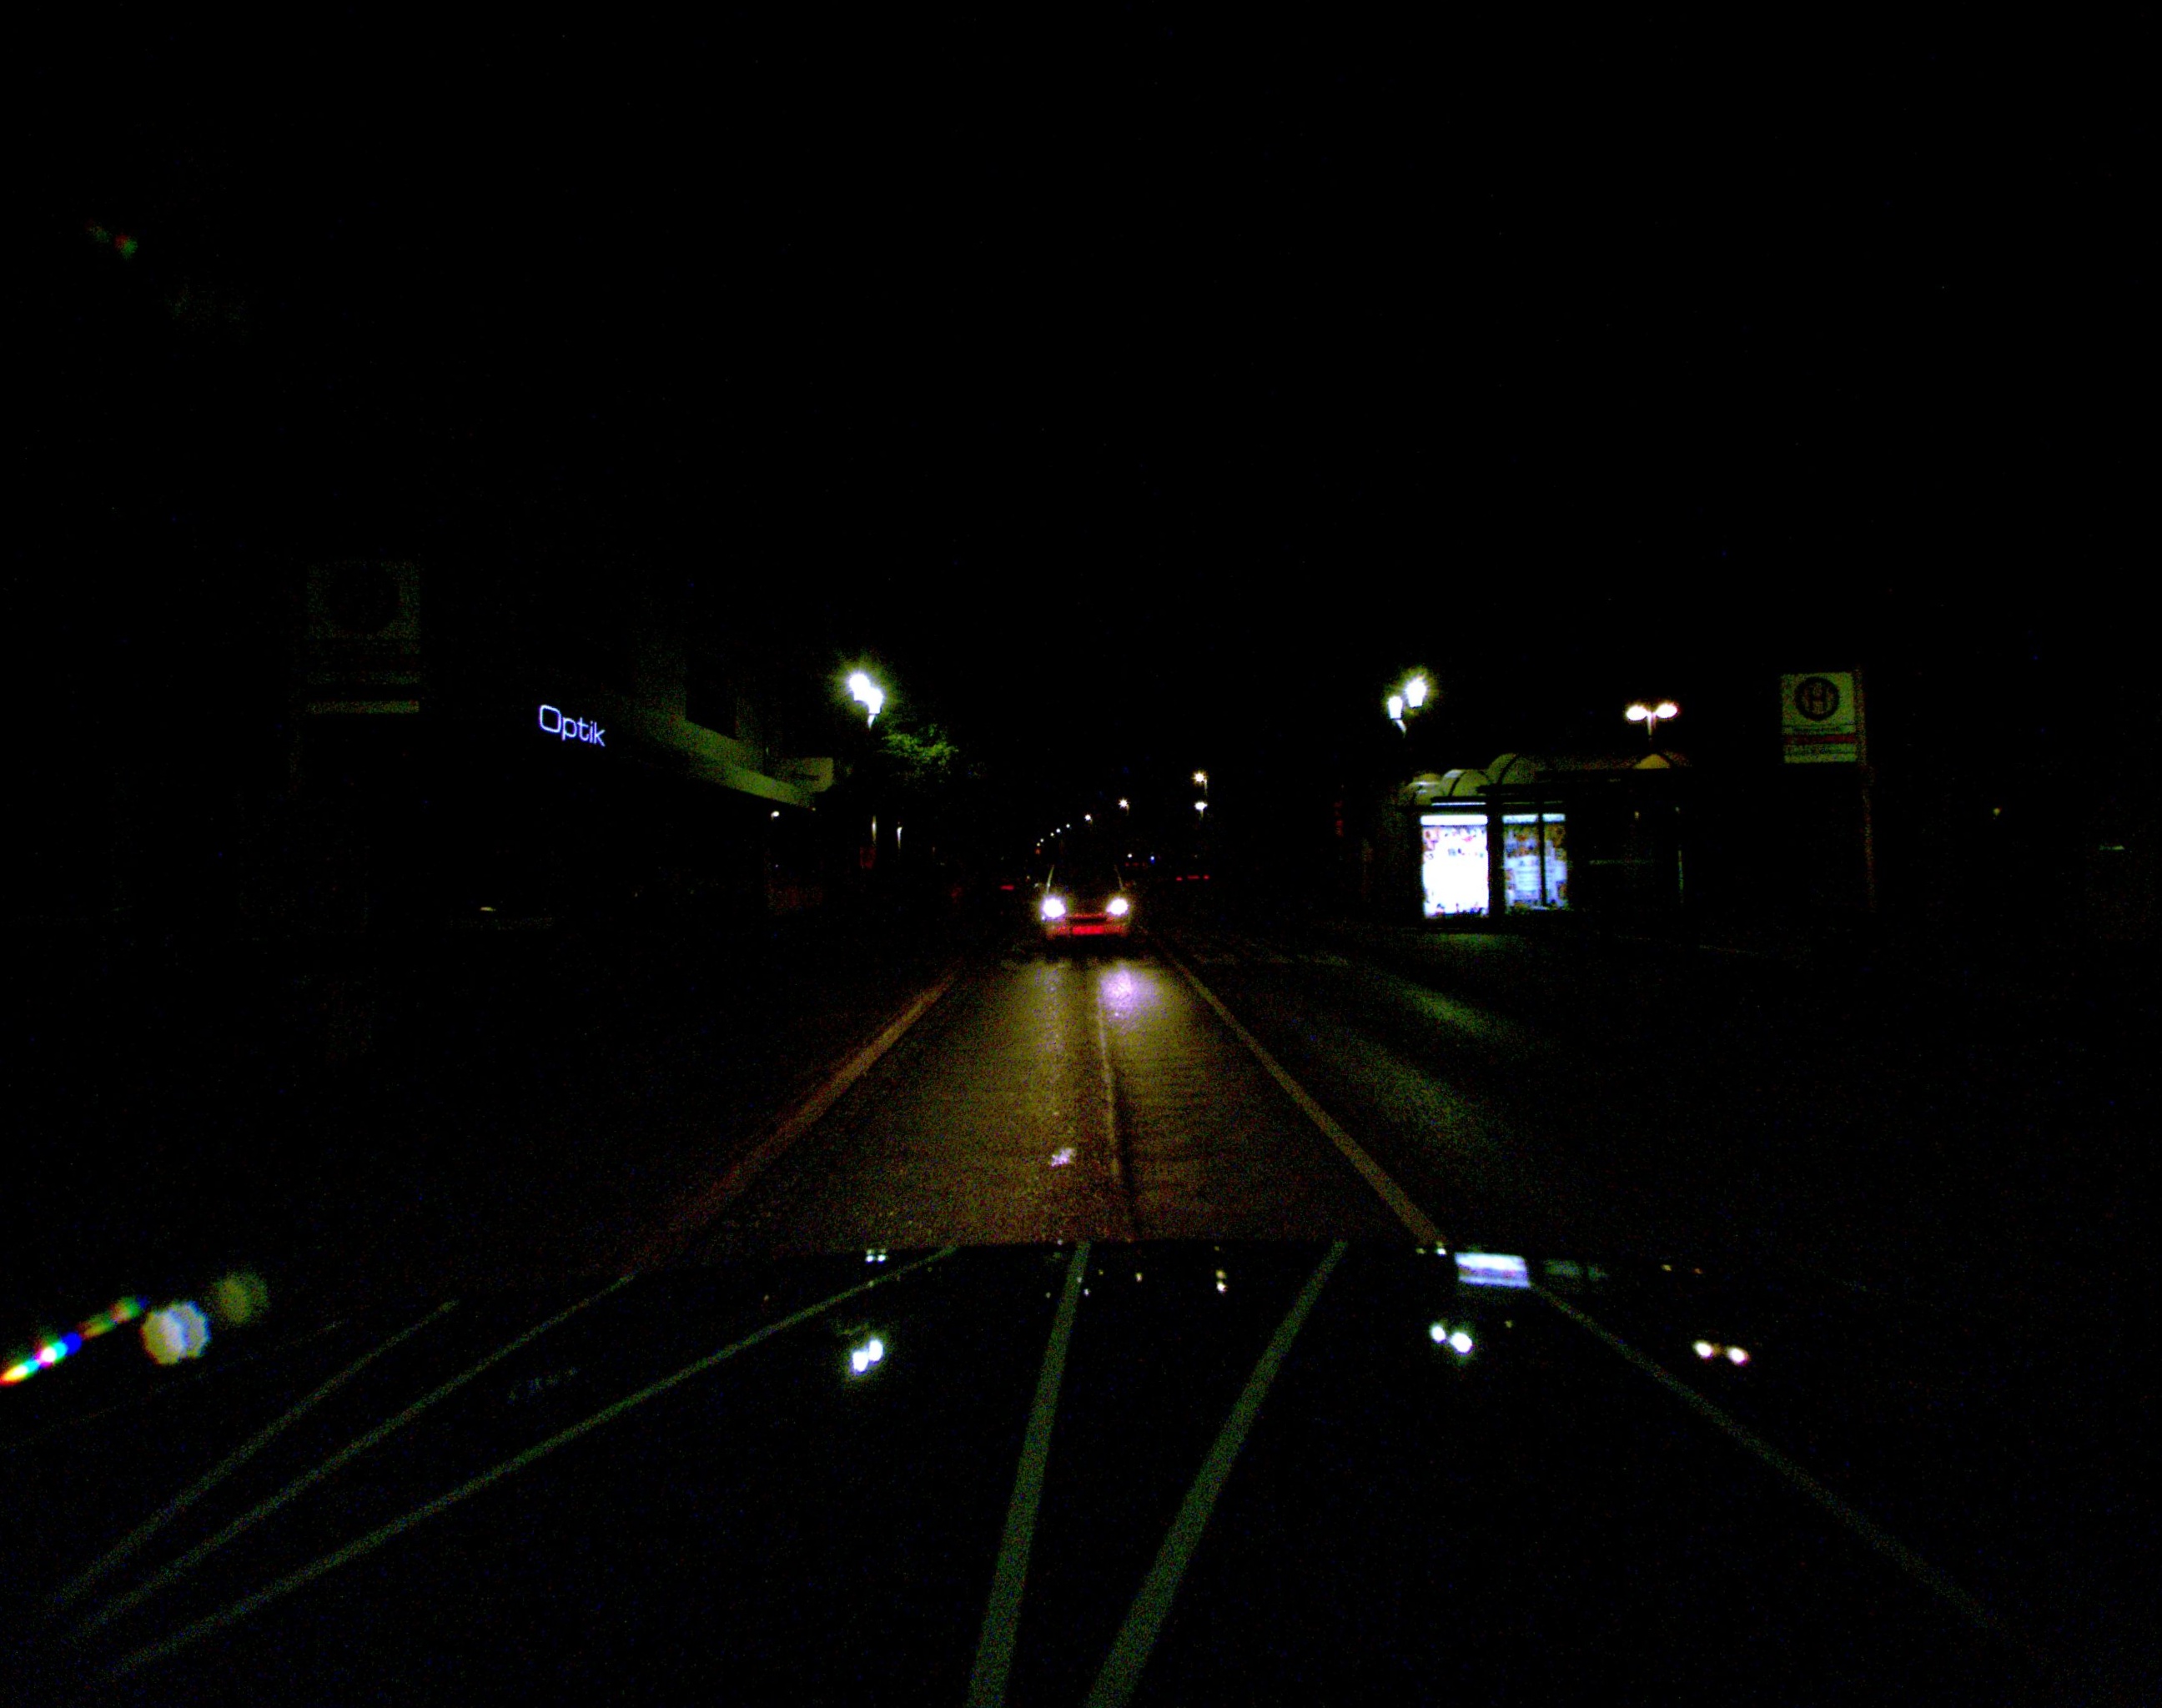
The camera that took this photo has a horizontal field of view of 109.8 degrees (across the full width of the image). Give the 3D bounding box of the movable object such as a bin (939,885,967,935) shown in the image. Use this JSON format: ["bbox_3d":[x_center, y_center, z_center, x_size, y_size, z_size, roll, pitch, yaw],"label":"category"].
[{"bbox_3d":[-2.624,1.135,15.527,0.525,0.932,0.629,-2,2,-11],"label":"movable object such as a bin"}]

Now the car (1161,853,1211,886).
[{"bbox_3d":[5.079,0.727,37.311,1.696,1.428,4.127,-3,0,-2],"label":"car"}]

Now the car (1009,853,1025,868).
[{"bbox_3d":[-7.229,0.712,85.670,1.643,1.458,3.774,-3,1,-5],"label":"car"}]

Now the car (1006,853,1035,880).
[{"bbox_3d":[-3.907,0.765,49.311,1.792,1.632,4.378,0,0,-4],"label":"car"}]

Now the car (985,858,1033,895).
[{"bbox_3d":[-3.026,0.917,32.844,1.863,1.434,4.592,0,1,-3],"label":"car"}]

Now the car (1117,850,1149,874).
[{"bbox_3d":[3.697,0.549,54.574,1.697,1.515,3.688,-2,2,-6],"label":"car"}]

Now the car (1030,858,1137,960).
[{"bbox_3d":[0.116,0.881,13.760,1.627,1.496,3.550,-2,1,3],"label":"car"}]
